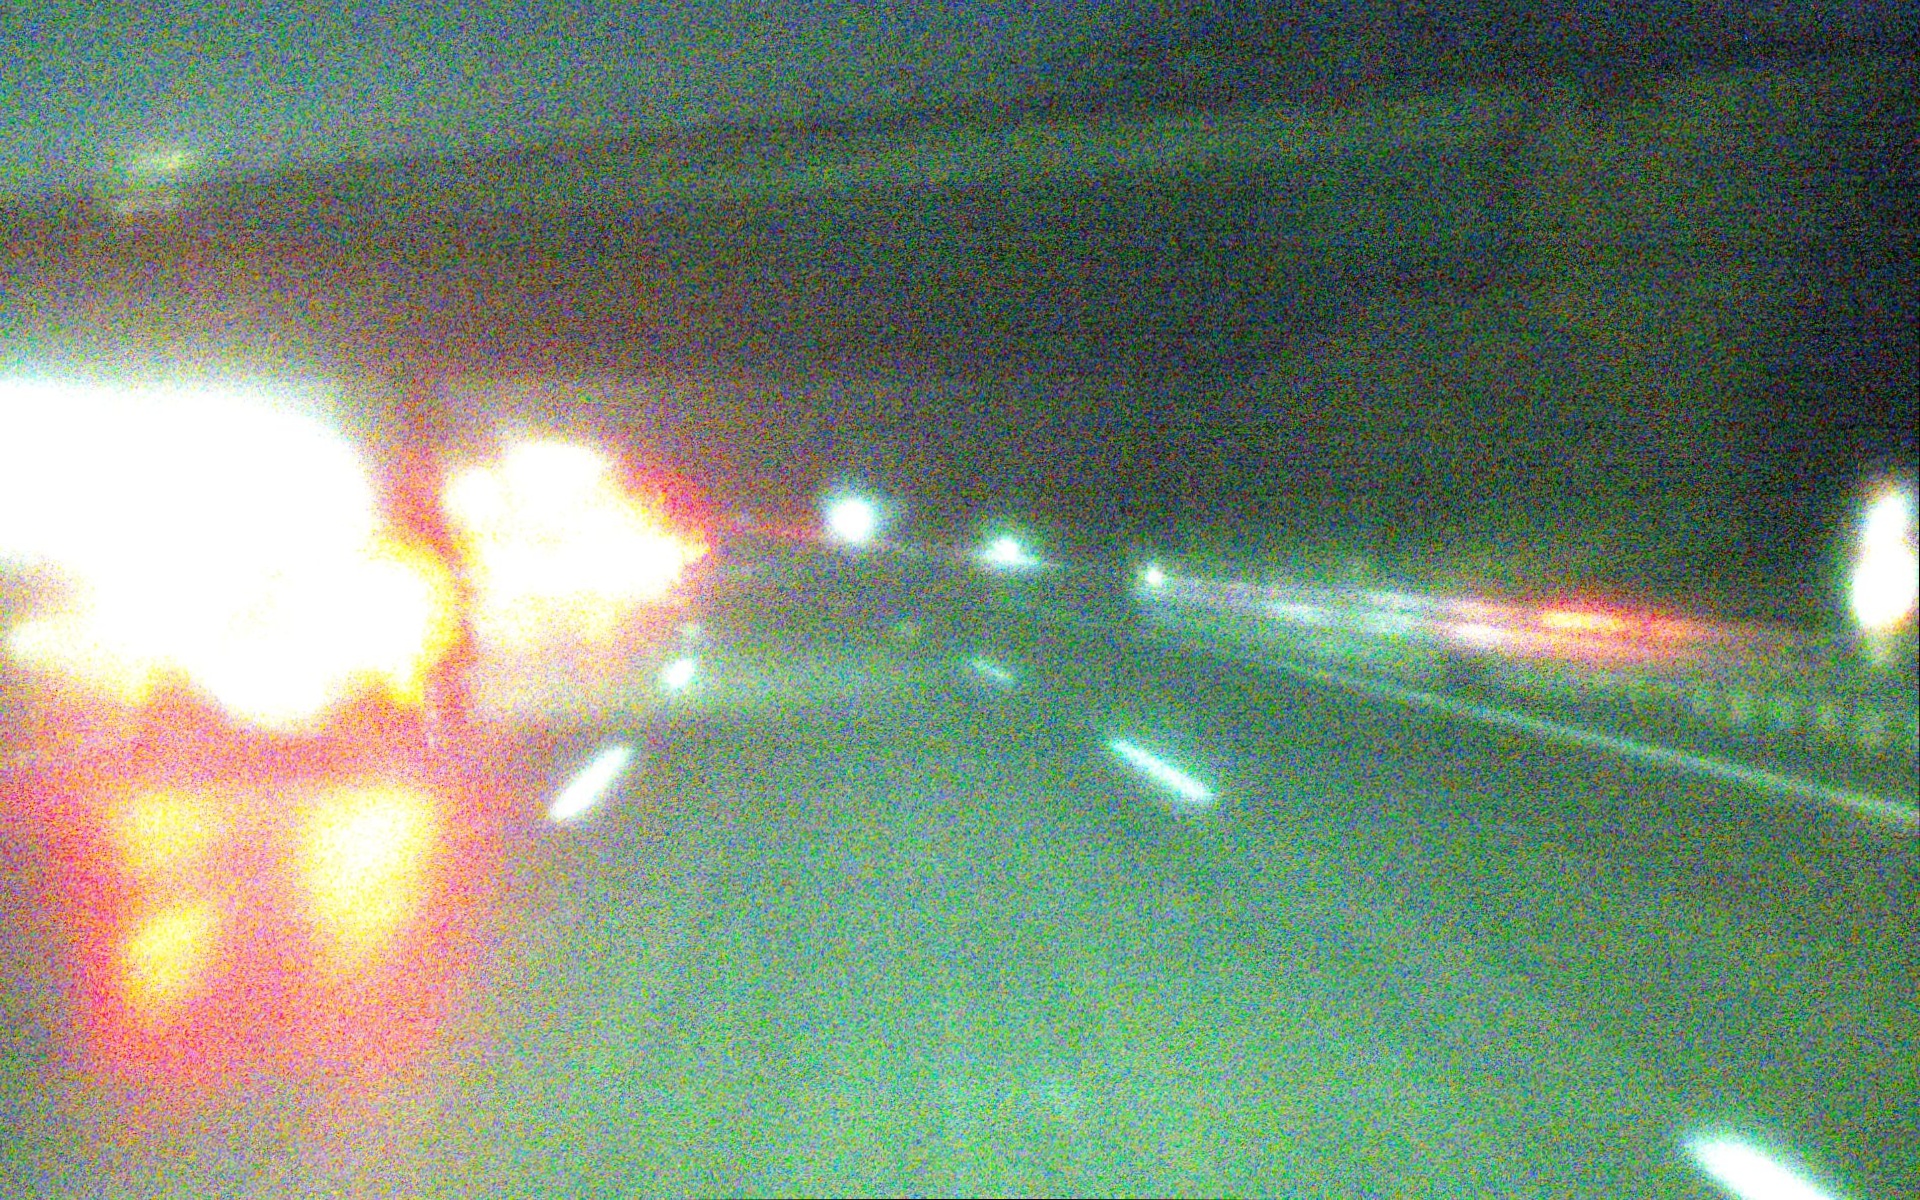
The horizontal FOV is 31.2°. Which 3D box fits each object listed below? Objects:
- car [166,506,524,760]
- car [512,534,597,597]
[{"bbox_3d":[-4.325,0.171,24.866,1.858,1.535,4.751,4,1,-3],"label":"car"},{"bbox_3d":[-8.311,-0.706,70.310,1.662,1.232,3.762,1,1,-7],"label":"car"}]
